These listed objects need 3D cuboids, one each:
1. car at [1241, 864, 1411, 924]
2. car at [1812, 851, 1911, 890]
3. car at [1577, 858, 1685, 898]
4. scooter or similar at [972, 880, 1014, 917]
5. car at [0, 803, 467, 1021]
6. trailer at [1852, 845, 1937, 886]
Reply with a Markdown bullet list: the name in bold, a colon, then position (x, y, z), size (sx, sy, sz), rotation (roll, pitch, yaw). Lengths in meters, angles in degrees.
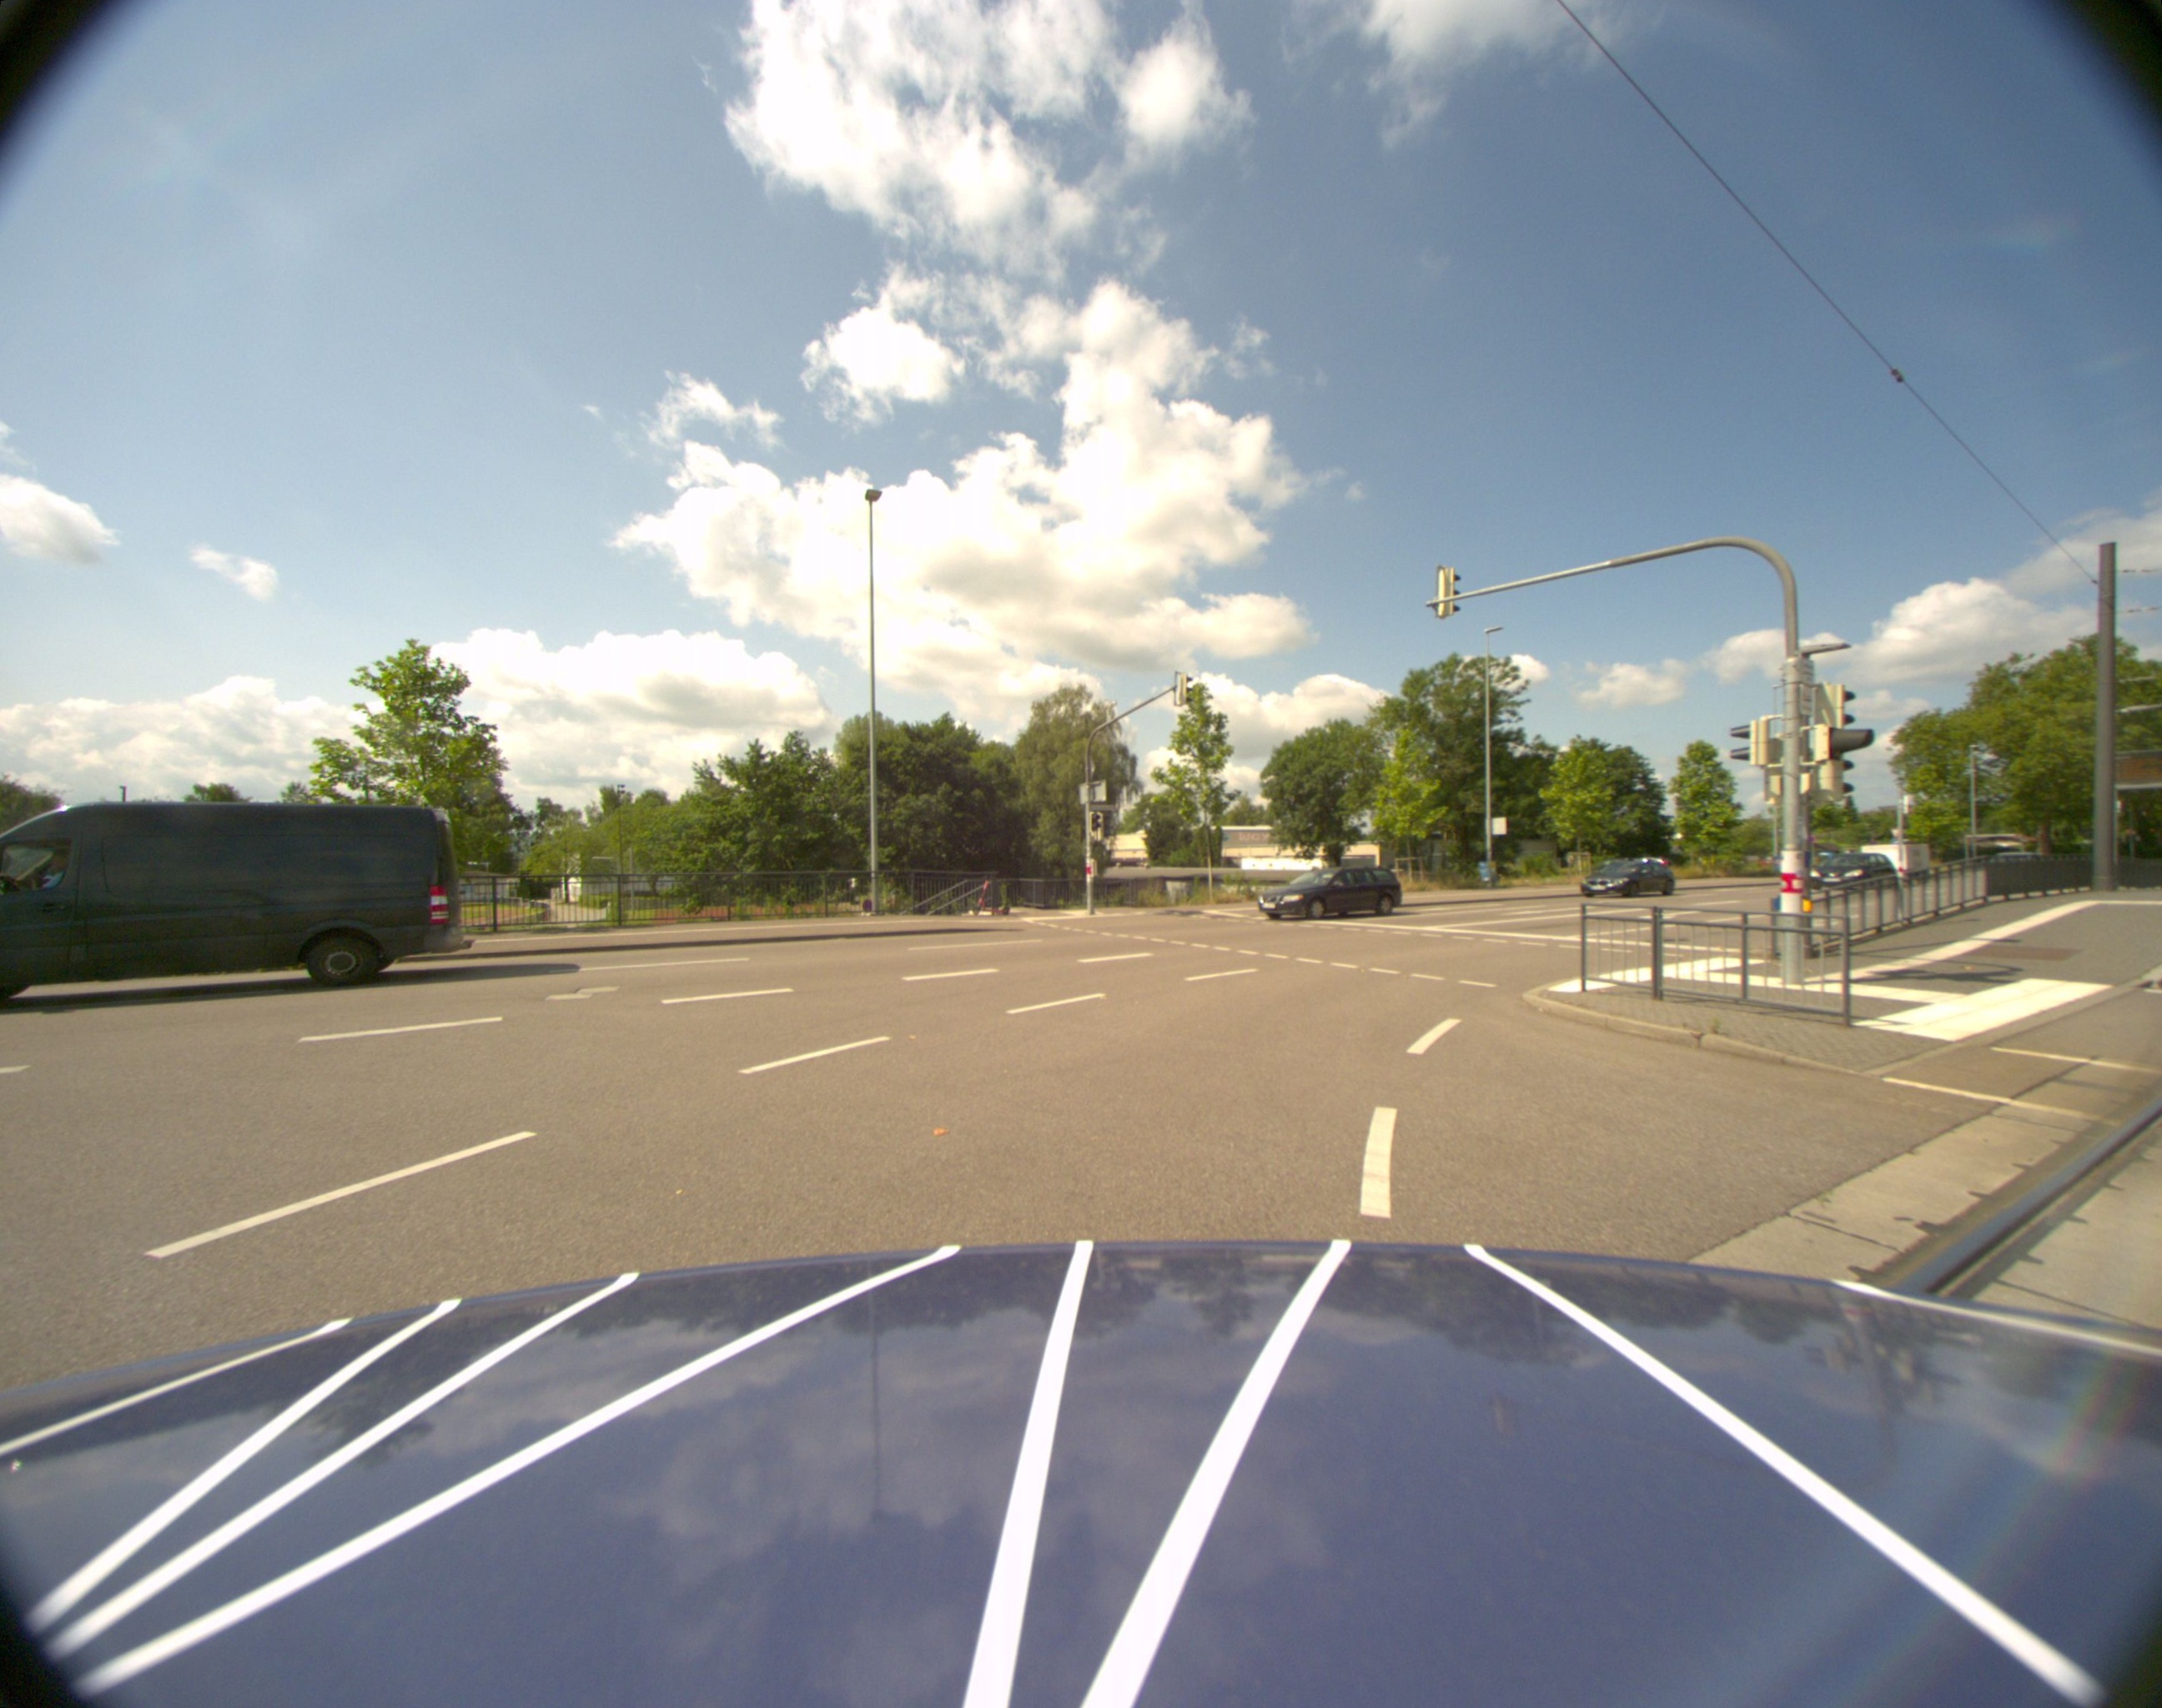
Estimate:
- **car**: position (7.264, 1.123, 22.440), size (4.789, 1.499, 1.963), rotation (-1, -1, -28)
- **car**: position (33.928, 0.660, 32.983), size (5.261, 1.565, 1.995), rotation (0, 0, -33)
- **car**: position (22.204, 0.938, 30.676), size (4.075, 1.438, 1.726), rotation (-1, 0, -25)
- **scooter or similar**: position (-2.684, 1.343, 23.242), size (1.252, 1.092, 0.342), rotation (0, 0, -30)
- **car**: position (-12.333, 0.710, 10.590), size (5.686, 2.589, 1.988), rotation (-1, -1, -34)
- **trailer**: position (38.379, 0.486, 35.801), size (5.191, 1.820, 1.820), rotation (0, 0, -33)
